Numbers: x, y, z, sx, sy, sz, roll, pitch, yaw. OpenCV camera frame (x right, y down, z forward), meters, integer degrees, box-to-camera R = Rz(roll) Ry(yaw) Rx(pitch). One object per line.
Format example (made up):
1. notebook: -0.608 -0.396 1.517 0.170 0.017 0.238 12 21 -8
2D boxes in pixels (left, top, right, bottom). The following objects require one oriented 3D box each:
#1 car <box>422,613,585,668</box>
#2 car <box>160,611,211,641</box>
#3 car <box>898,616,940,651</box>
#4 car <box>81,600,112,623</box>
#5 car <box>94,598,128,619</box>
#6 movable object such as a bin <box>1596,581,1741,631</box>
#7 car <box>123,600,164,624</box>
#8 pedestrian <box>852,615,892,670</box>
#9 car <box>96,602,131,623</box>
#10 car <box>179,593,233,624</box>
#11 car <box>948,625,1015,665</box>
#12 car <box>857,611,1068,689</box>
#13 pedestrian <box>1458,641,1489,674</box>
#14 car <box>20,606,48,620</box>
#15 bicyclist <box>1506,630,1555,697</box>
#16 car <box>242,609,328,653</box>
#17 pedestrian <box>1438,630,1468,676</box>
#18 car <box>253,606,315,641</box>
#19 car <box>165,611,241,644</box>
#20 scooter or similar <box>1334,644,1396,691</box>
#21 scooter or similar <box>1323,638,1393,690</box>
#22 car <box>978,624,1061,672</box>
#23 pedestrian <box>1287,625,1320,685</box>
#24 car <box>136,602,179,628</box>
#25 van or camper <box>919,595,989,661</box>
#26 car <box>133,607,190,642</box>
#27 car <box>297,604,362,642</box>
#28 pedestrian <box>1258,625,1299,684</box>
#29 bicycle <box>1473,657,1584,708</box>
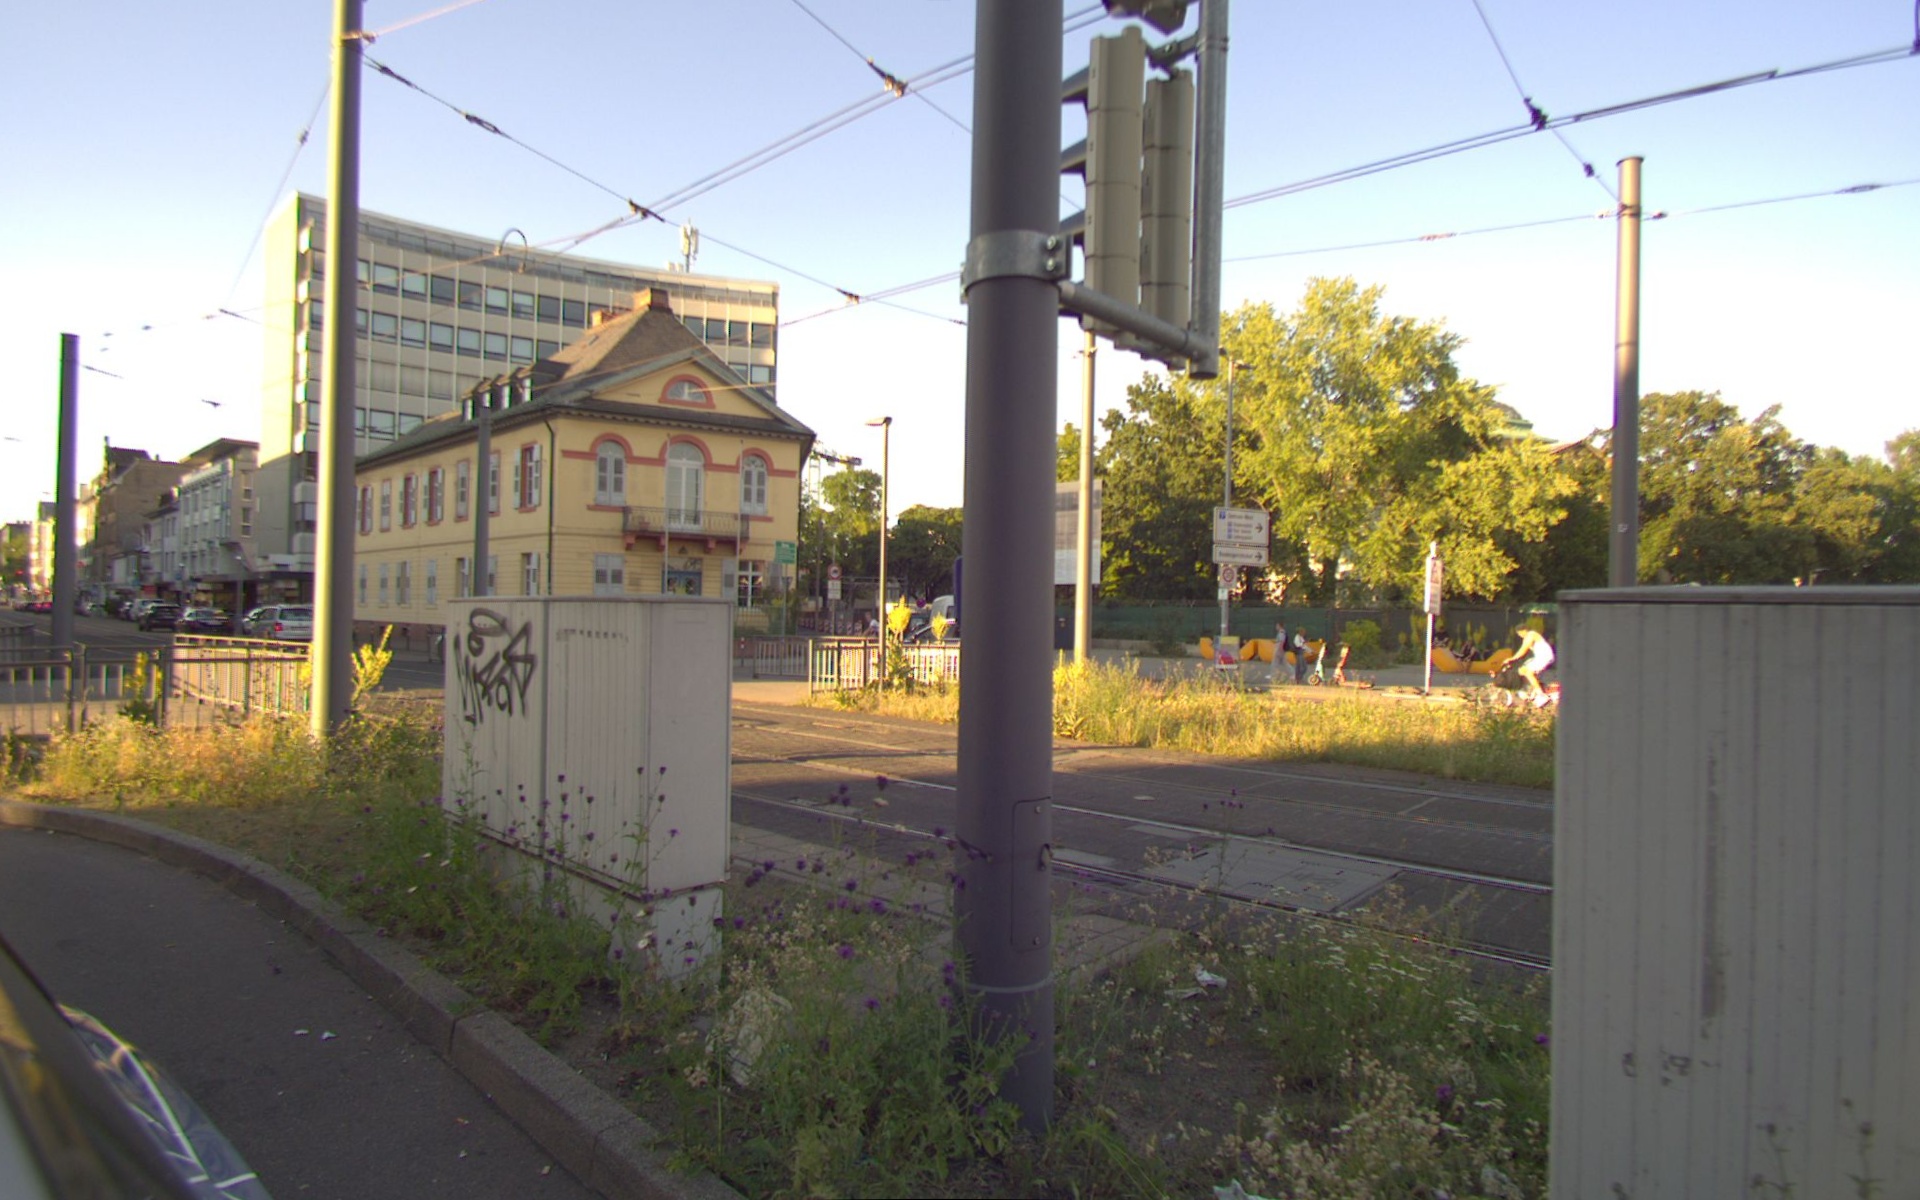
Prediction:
1. car: -13.035 1.127 28.896 4.313 1.421 1.899 0 -2 25
2. car: -52.700 1.750 68.855 3.998 1.962 1.972 -1 -2 42
3. car: -2.331 1.868 56.650 1.690 1.863 4.031 2 -2 -11
4. car: -92.058 1.182 107.859 3.999 2.394 1.972 0 -2 42
5. car: -86.654 0.858 103.277 3.997 2.029 1.973 0 1 40
6. movable object such as a bin: 30.985 0.312 44.465 1.965 2.029 5.040 1 -1 -19
7. car: -68.401 1.011 84.769 3.999 1.962 1.972 0 -2 42
8. pedestrian: -2.487 1.179 28.439 1.028 1.514 1.007 1 -1 -9
9. car: -82.414 1.193 98.483 3.998 1.962 1.972 0 -2 42
10. car: -48.656 0.528 65.253 3.999 1.915 1.972 0 -2 42
11. car: 0.803 1.781 40.936 1.706 1.440 4.484 2 -2 -12
12. car: 0.018 1.041 22.830 4.400 1.528 1.979 0 1 32
13. pedestrian: 18.910 2.106 37.241 0.975 1.166 0.735 3 -2 -44
14. car: -105.943 1.507 115.792 3.997 1.519 1.825 0 -2 40
15. bicyclist: 11.056 1.220 19.640 0.723 1.267 0.664 0 -2 20
16. car: -26.215 1.161 39.265 4.070 1.610 1.815 -1 -2 42
17. pedestrian: 18.616 1.992 38.225 0.810 1.678 0.765 2 -2 -43
18. car: -33.880 1.174 50.704 3.806 1.721 1.713 -1 -2 43
19. car: -35.141 1.268 46.938 4.656 1.439 1.990 0 -2 43
20. scooter or similar: 10.368 1.723 25.919 1.383 1.175 0.461 1 -1 -3
21. scooter or similar: 10.378 1.663 26.403 1.628 1.302 0.462 1 -1 -4
22. car: 2.055 1.677 36.363 1.754 1.555 4.302 2 -2 -13
23. pedestrian: 9.622 1.529 28.322 0.679 1.625 0.597 2 -2 -41
24. car: -63.295 1.179 79.825 3.999 1.962 1.972 0 -2 42
25. van or camper: -0.378 1.289 46.846 2.050 2.796 6.463 2 -2 -10
26. car: -46.844 1.417 59.362 4.119 2.005 1.972 0 -2 43
27. car: -29.405 1.053 47.174 3.439 1.721 1.713 0 -2 43
28. pedestrian: 9.685 1.637 30.813 0.865 1.737 0.831 2 -2 -7
29. bicycle: 11.006 1.587 19.646 1.783 0.899 0.676 0 -2 20
